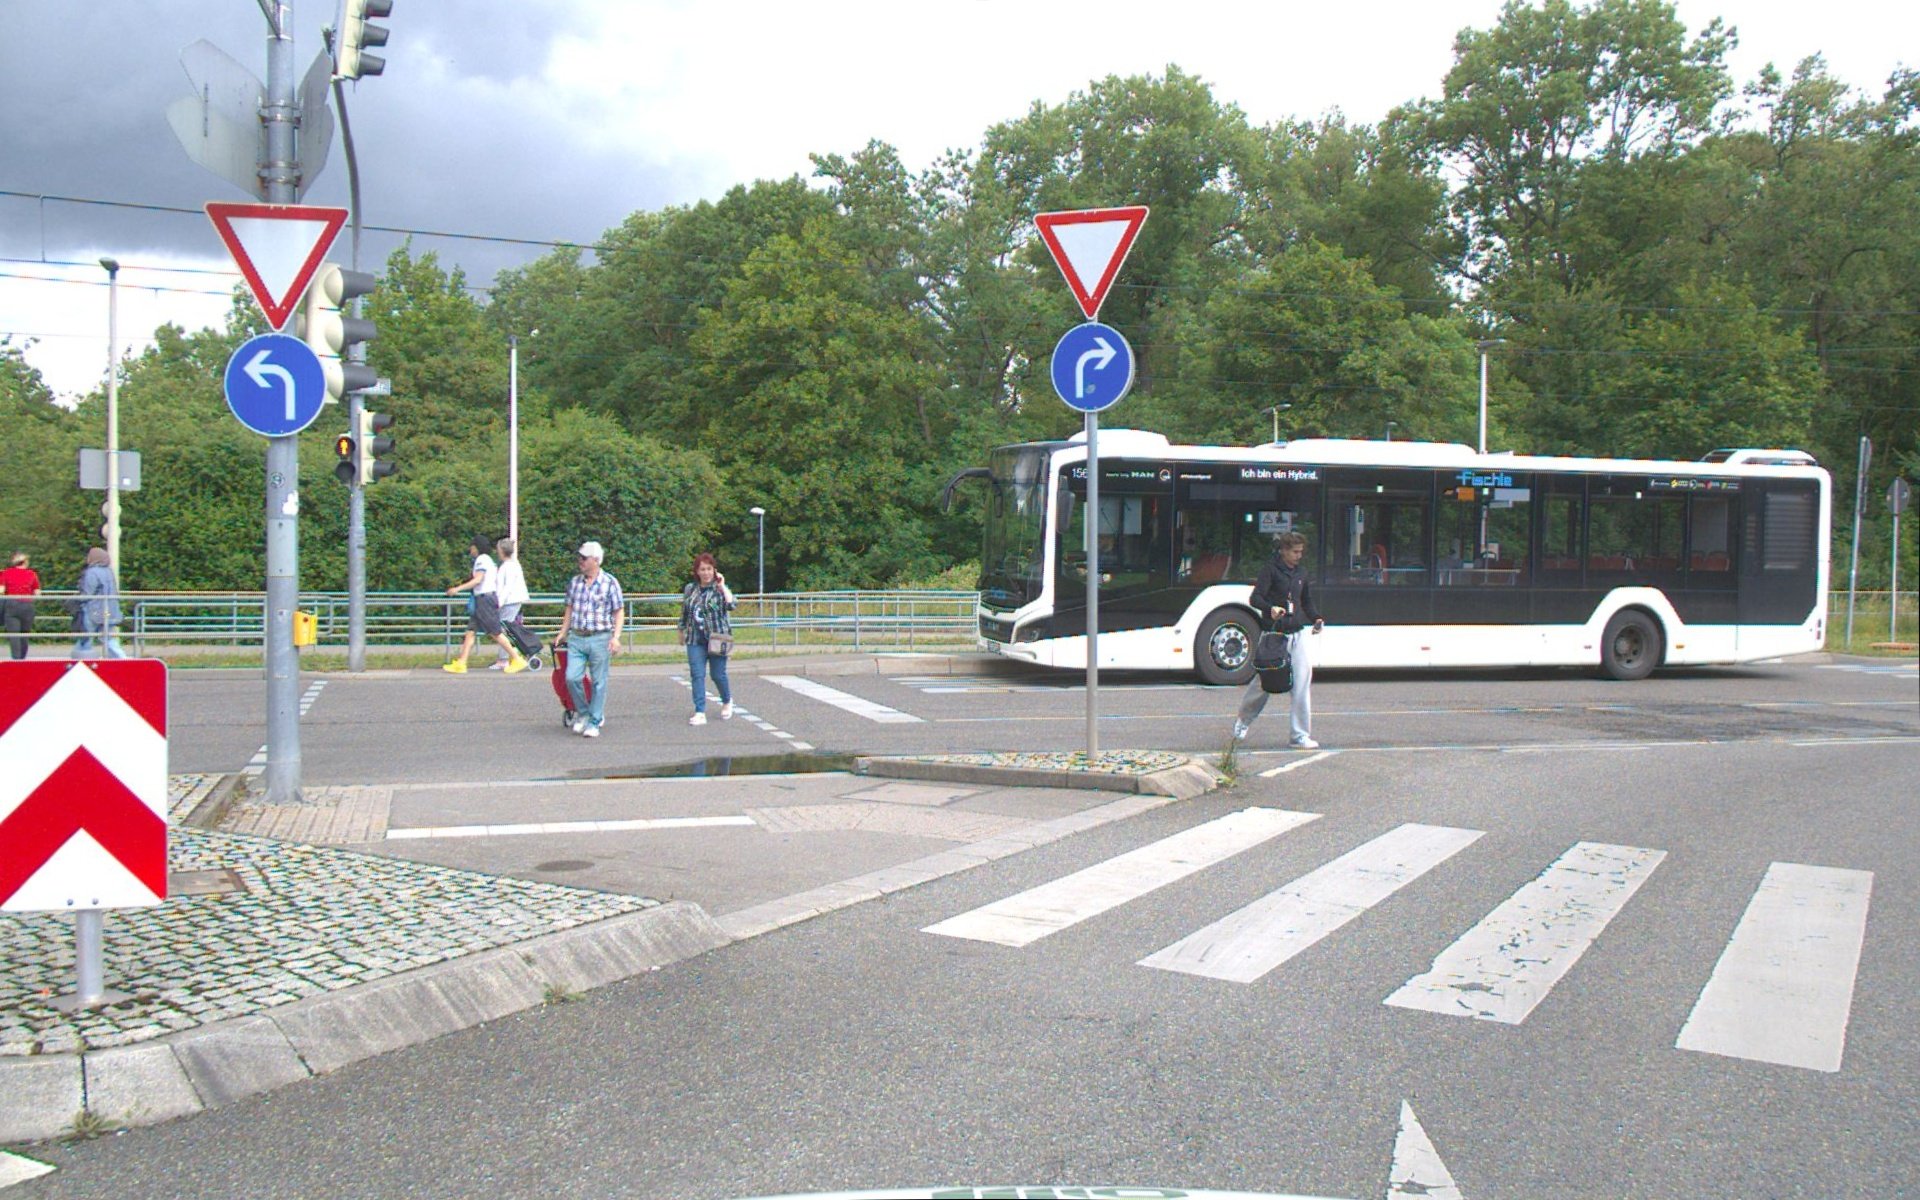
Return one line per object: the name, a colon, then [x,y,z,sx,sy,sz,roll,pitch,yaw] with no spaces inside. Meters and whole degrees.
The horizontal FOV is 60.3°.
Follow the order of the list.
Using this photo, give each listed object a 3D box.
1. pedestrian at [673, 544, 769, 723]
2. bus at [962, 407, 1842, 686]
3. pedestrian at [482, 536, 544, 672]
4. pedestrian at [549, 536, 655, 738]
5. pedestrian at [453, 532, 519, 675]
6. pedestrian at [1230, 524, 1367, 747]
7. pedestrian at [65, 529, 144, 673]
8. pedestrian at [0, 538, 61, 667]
pedestrian: [-2.204,0.295,15.211,0.720,1.594,0.688,0,0,-22]
bus: [6.116,-0.656,22.369,11.967,3.259,2.662,0,1,-17]
pedestrian: [-6.007,0.048,22.261,0.707,1.778,0.955,1,0,-11]
pedestrian: [-3.045,0.298,14.049,0.713,1.662,0.692,0,0,-30]
pedestrian: [-6.027,0.044,21.081,0.707,1.778,0.955,1,0,-11]
pedestrian: [2.805,0.278,13.815,0.934,1.777,1.062,1,0,2]
pedestrian: [-10.795,0.007,20.894,0.709,1.778,0.953,1,0,-17]
pedestrian: [-12.219,0.028,21.566,0.709,1.649,0.801,1,0,-17]
